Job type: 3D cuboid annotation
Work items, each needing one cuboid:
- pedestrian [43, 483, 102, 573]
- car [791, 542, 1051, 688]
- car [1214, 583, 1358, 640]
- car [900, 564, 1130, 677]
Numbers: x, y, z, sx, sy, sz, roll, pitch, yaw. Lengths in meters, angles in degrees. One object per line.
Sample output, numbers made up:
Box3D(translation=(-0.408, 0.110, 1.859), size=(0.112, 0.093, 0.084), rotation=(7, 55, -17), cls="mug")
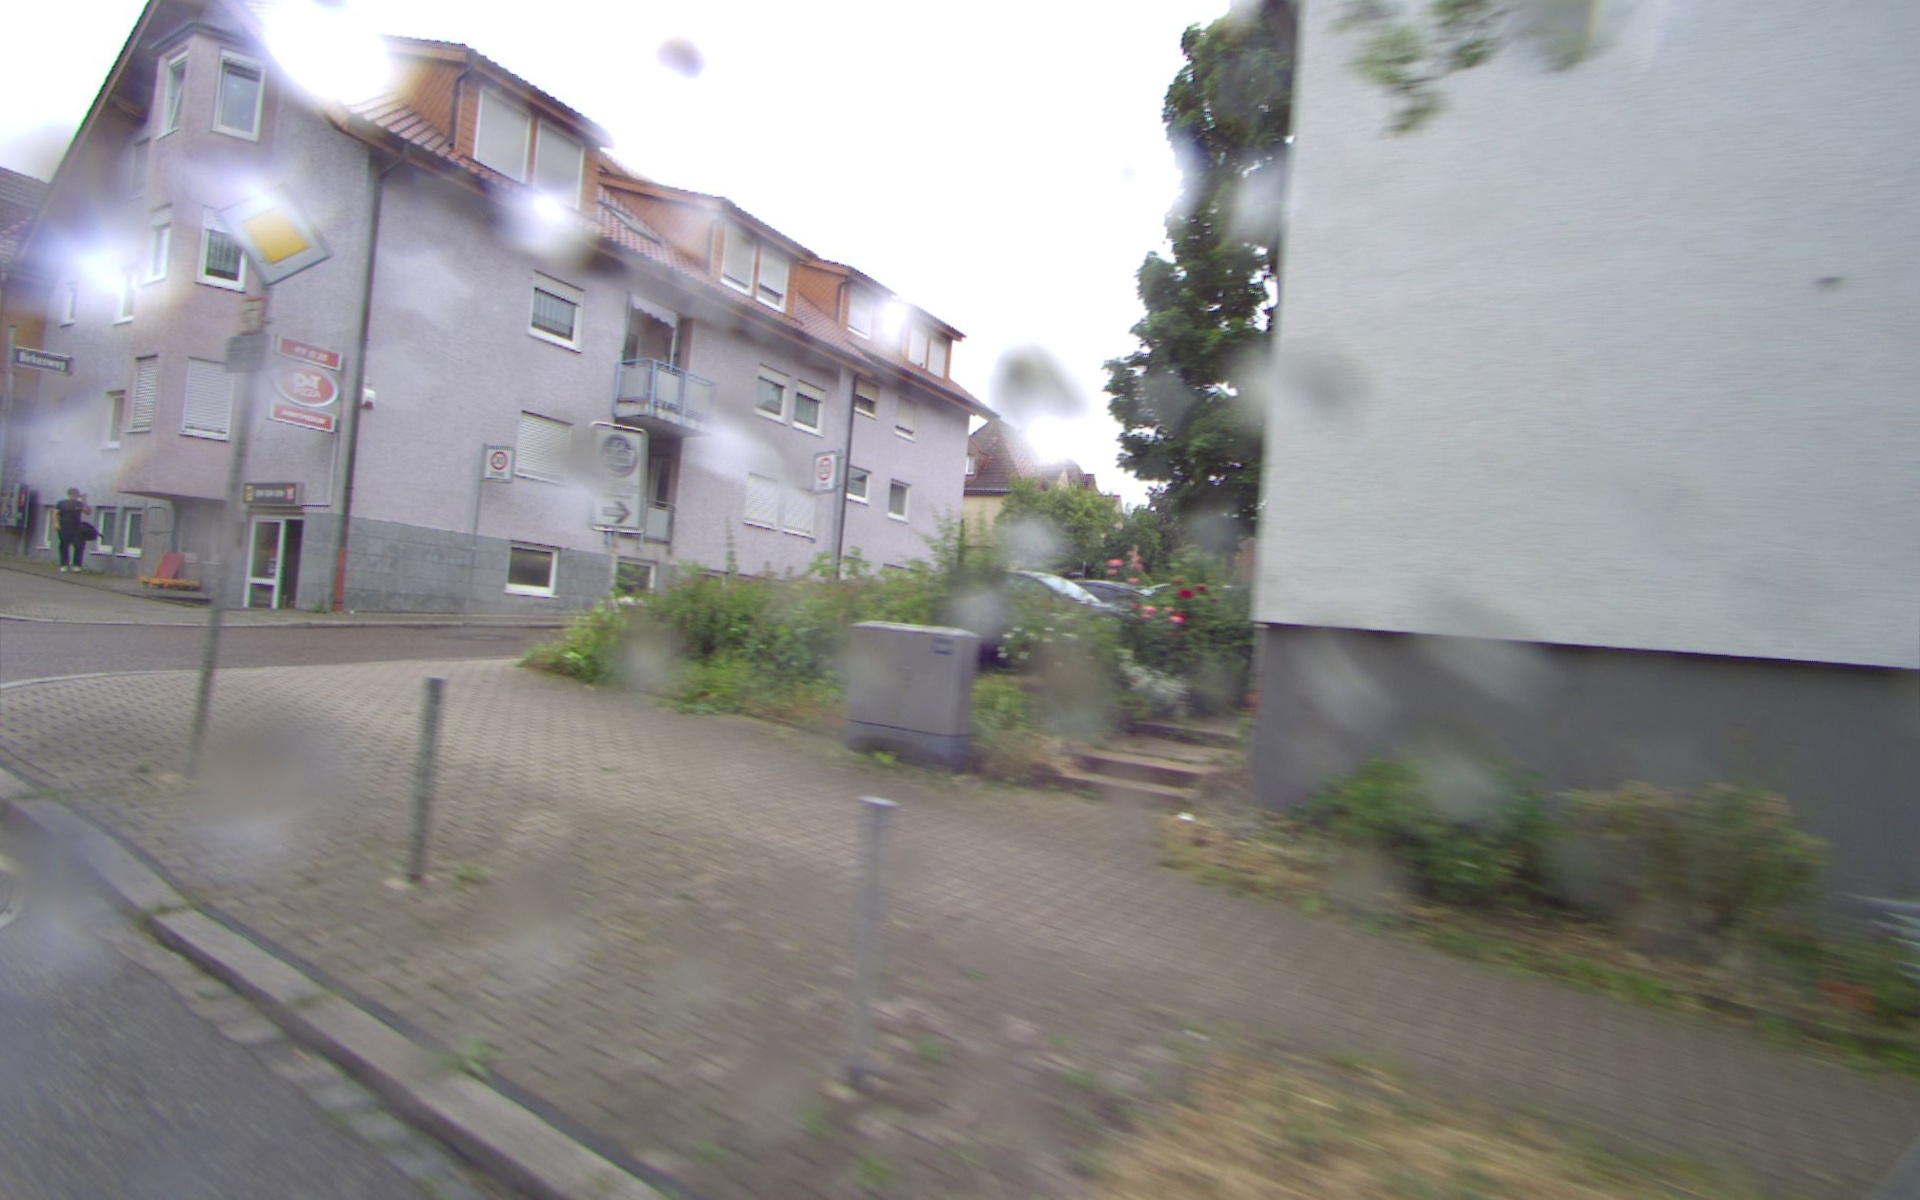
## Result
Box3D(translation=(-18.719, -1.510, 21.224), size=(0.658, 1.777, 0.690), rotation=(8, 2, 32), cls="pedestrian")
Box3D(translation=(-0.657, 0.179, 15.664), size=(3.614, 1.707, 1.679), rotation=(9, 4, 34), cls="car")
Box3D(translation=(11.194, 0.367, 34.645), size=(4.371, 1.710, 1.709), rotation=(3, 1, 31), cls="car")
Box3D(translation=(0.902, 0.290, 17.300), size=(3.543, 1.605, 1.643), rotation=(5, 3, 34), cls="car")
